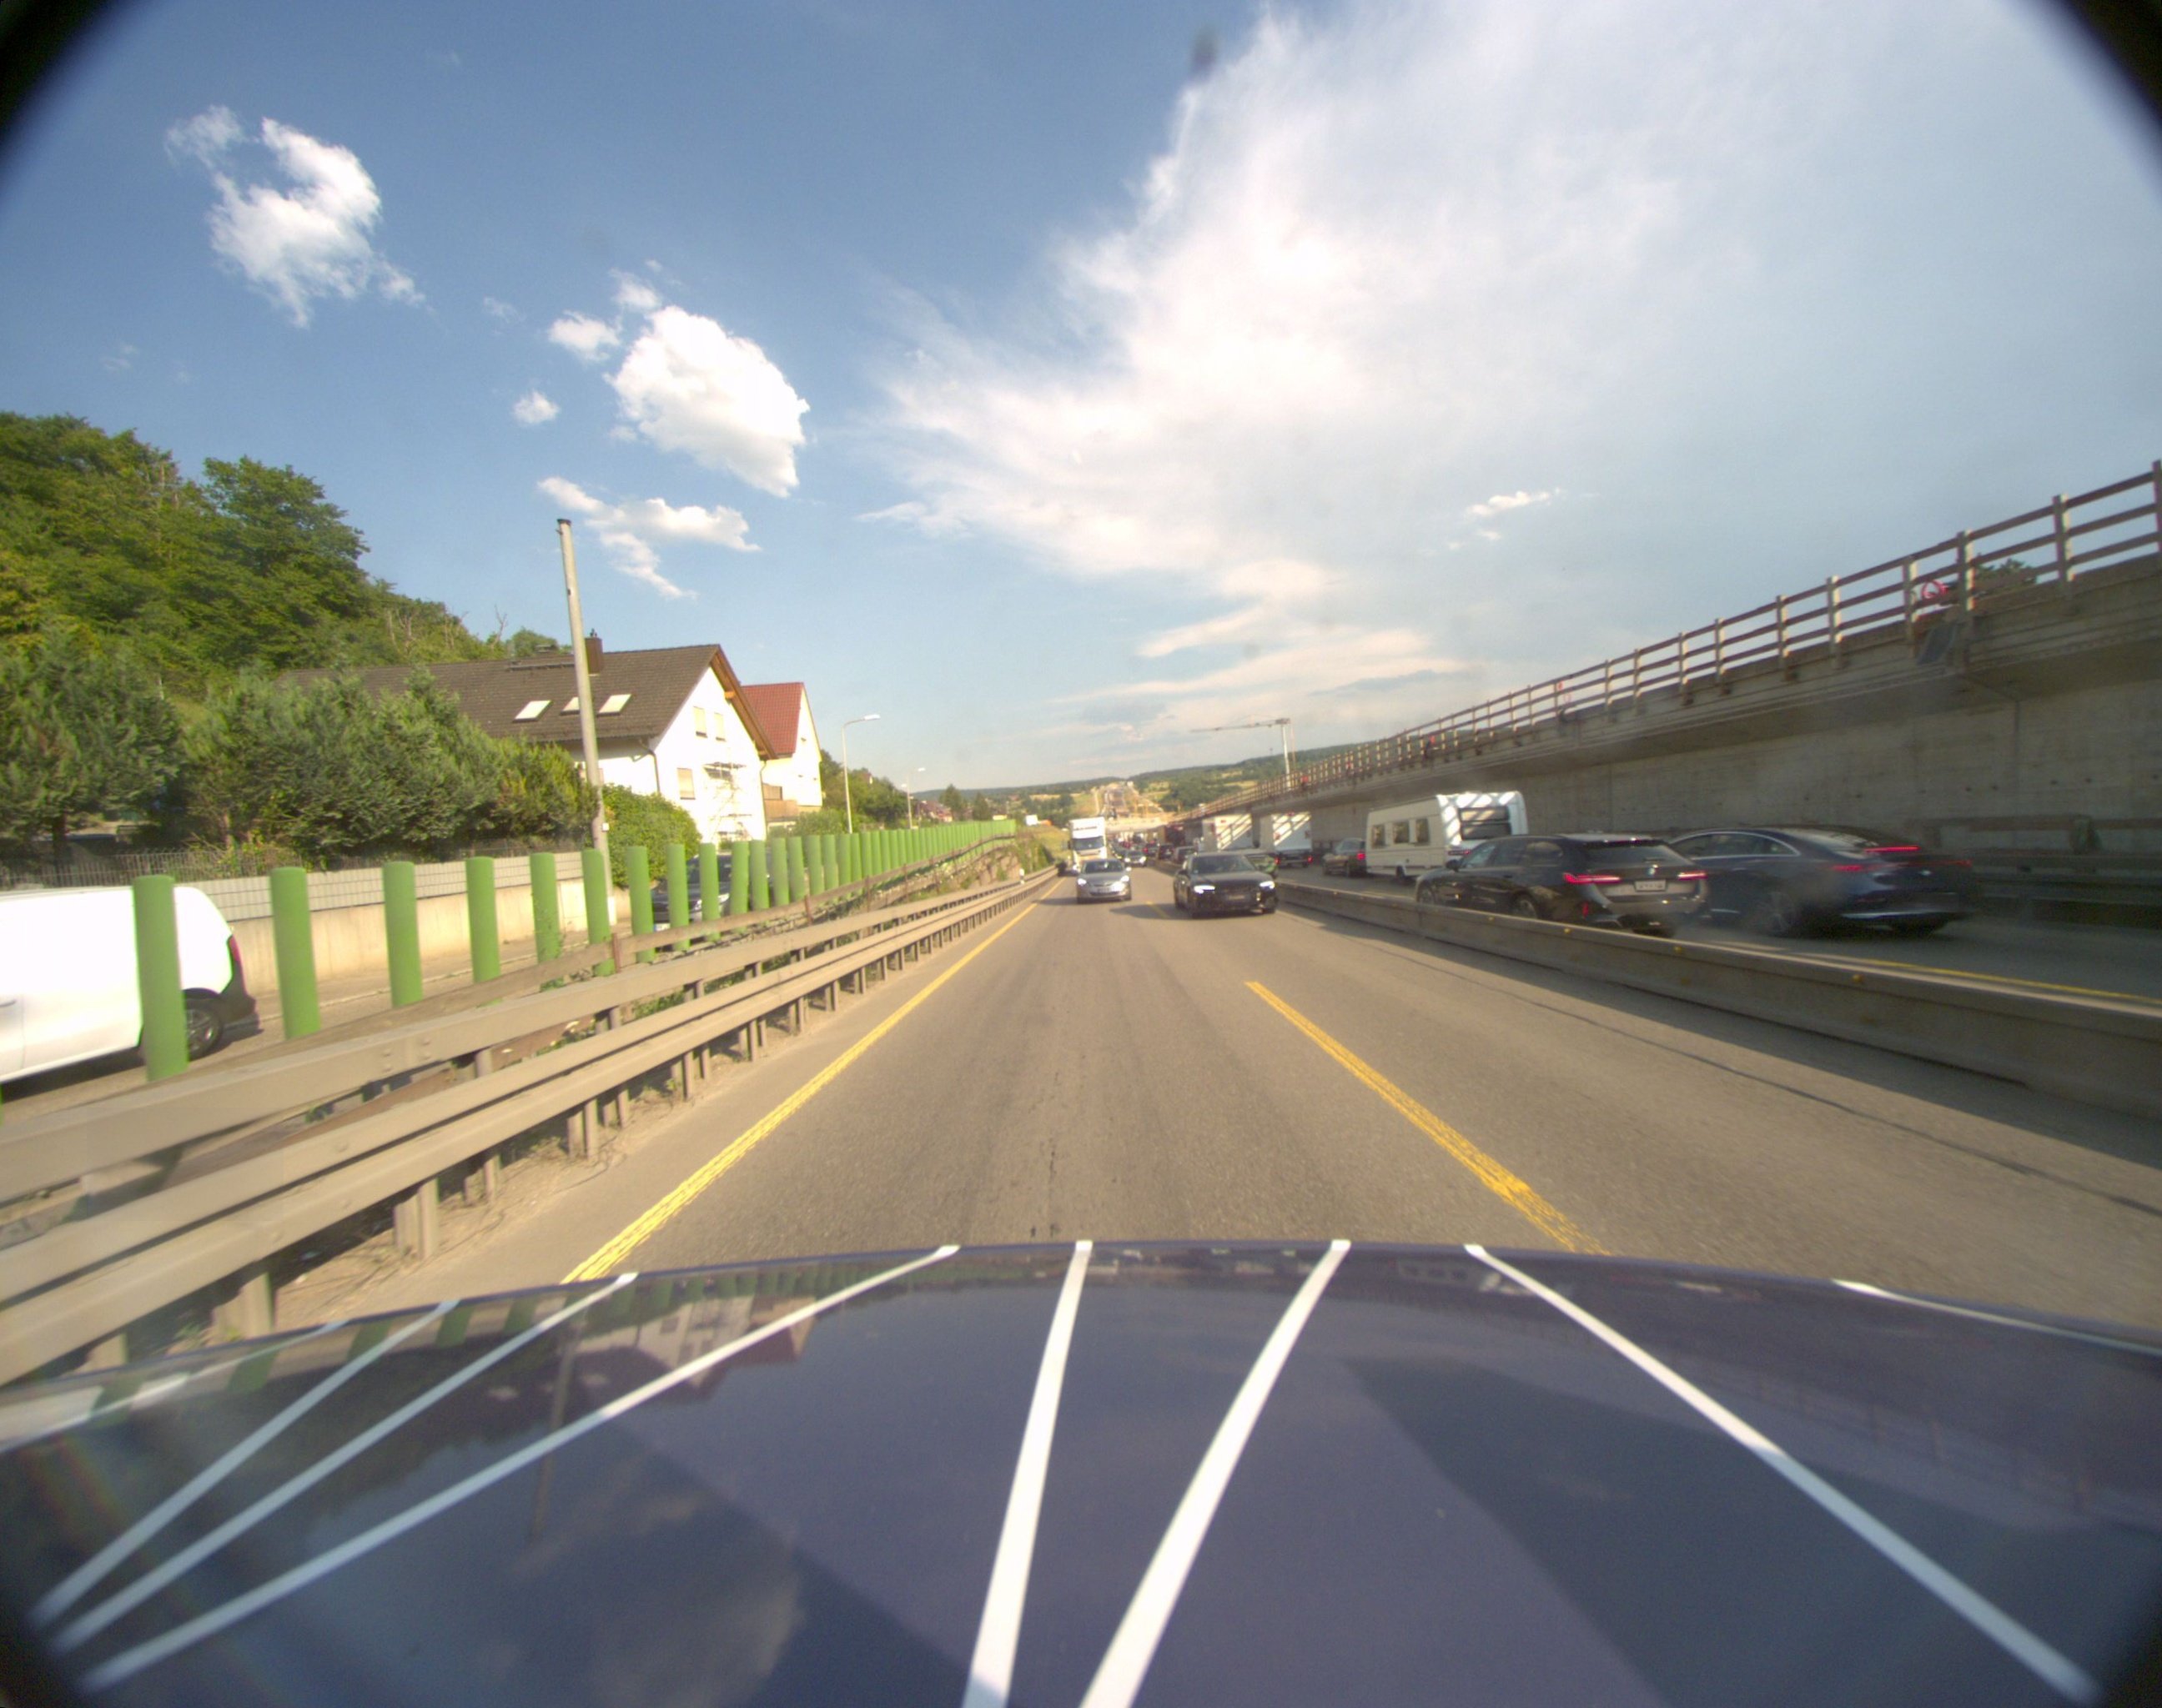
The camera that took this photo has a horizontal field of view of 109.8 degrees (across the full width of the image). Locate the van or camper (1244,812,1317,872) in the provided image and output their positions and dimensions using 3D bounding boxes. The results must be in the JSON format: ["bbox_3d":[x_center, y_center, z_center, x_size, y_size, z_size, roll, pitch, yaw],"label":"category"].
[{"bbox_3d":[10.997,-0.705,42.373,2.325,2.972,6.222,-4,2,1],"label":"van or camper"}]

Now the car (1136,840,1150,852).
[{"bbox_3d":[10.075,-1.291,124.028,1.826,1.762,5.139,-6,2,2],"label":"car"}]

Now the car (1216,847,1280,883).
[{"bbox_3d":[7.052,0.430,32.513,1.785,1.317,4.239,-4,1,1],"label":"car"}]

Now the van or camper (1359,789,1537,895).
[{"bbox_3d":[10.745,-0.356,23.002,2.317,2.647,6.454,-3,1,2],"label":"van or camper"}]

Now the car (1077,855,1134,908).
[{"bbox_3d":[0.832,0.874,25.577,1.671,1.425,3.523,-4,1,2],"label":"car"}]

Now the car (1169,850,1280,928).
[{"bbox_3d":[3.271,0.721,18.156,1.872,1.411,4.348,-5,1,2],"label":"car"}]

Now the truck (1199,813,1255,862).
[{"bbox_3d":[10.998,-1.274,57.865,2.721,3.405,8.139,-2,2,1],"label":"truck"}]

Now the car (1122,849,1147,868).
[{"bbox_3d":[4.454,0.357,63.536,1.692,1.294,3.882,-6,2,0],"label":"car"}]

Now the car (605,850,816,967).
[{"bbox_3d":[-7.031,0.918,15.024,1.887,1.801,4.246,-6,0,0],"label":"car"}]

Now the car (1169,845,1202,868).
[{"bbox_3d":[7.676,0.146,56.244,1.768,1.442,4.458,-6,0,1],"label":"car"}]

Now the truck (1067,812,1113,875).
[{"bbox_3d":[0.890,-0.891,58.155,2.741,4.034,12.668,-5,2,3],"label":"truck"}]

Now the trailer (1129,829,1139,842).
[{"bbox_3d":[17.661,-6.282,253.019,2.659,3.829,13.440,-5,2,2],"label":"trailer"}]

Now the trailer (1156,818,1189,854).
[{"bbox_3d":[12.209,-2.481,102.661,2.920,4.216,13.767,-5,2,3],"label":"trailer"}]

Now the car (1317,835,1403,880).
[{"bbox_3d":[10.792,0.085,29.739,1.645,1.522,4.783,-3,1,1],"label":"car"}]

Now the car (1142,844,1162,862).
[{"bbox_3d":[8.815,-0.161,94.544,1.990,1.911,5.290,-6,1,1],"label":"car"}]

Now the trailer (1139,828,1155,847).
[{"bbox_3d":[13.596,-3.417,157.263,2.563,3.507,10.679,-5,2,2],"label":"trailer"}]

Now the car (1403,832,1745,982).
[{"bbox_3d":[6.793,0.552,11.301,1.842,1.584,4.867,-6,2,0],"label":"car"}]

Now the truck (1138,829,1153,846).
[{"bbox_3d":[13.856,-3.541,163.887,2.555,3.390,5.530,-5,2,2],"label":"truck"}]

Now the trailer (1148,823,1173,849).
[{"bbox_3d":[13.634,-2.997,131.338,2.771,4.117,14.025,-5,0,2],"label":"trailer"}]

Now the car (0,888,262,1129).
[{"bbox_3d":[-10.000,1.449,6.100,1.811,1.860,4.438,-4,2,1],"label":"car"}]

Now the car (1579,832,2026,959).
[{"bbox_3d":[9.999,0.454,11.281,1.977,1.413,4.899,-2,1,0],"label":"car"}]

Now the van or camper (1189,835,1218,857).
[{"bbox_3d":[11.817,-0.788,73.376,1.922,1.911,4.922,-5,1,1],"label":"van or camper"}]

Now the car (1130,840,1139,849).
[{"bbox_3d":[10.694,-1.887,152.048,1.645,1.451,4.595,-5,2,2],"label":"car"}]

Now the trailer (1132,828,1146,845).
[{"bbox_3d":[15.436,-4.771,202.562,2.778,4.008,15.760,-5,2,2],"label":"trailer"}]

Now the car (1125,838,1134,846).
[{"bbox_3d":[10.956,-2.664,171.120,1.645,1.635,4.688,-6,2,1],"label":"car"}]

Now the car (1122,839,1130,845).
[{"bbox_3d":[11.406,-3.046,193.387,1.729,1.548,4.297,-6,1,2],"label":"car"}]

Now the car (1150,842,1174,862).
[{"bbox_3d":[7.889,-0.248,74.561,1.836,1.635,4.688,-6,2,1],"label":"car"}]

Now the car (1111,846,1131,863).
[{"bbox_3d":[4.415,0.018,84.171,1.998,1.740,3.999,-5,1,1],"label":"car"}]
